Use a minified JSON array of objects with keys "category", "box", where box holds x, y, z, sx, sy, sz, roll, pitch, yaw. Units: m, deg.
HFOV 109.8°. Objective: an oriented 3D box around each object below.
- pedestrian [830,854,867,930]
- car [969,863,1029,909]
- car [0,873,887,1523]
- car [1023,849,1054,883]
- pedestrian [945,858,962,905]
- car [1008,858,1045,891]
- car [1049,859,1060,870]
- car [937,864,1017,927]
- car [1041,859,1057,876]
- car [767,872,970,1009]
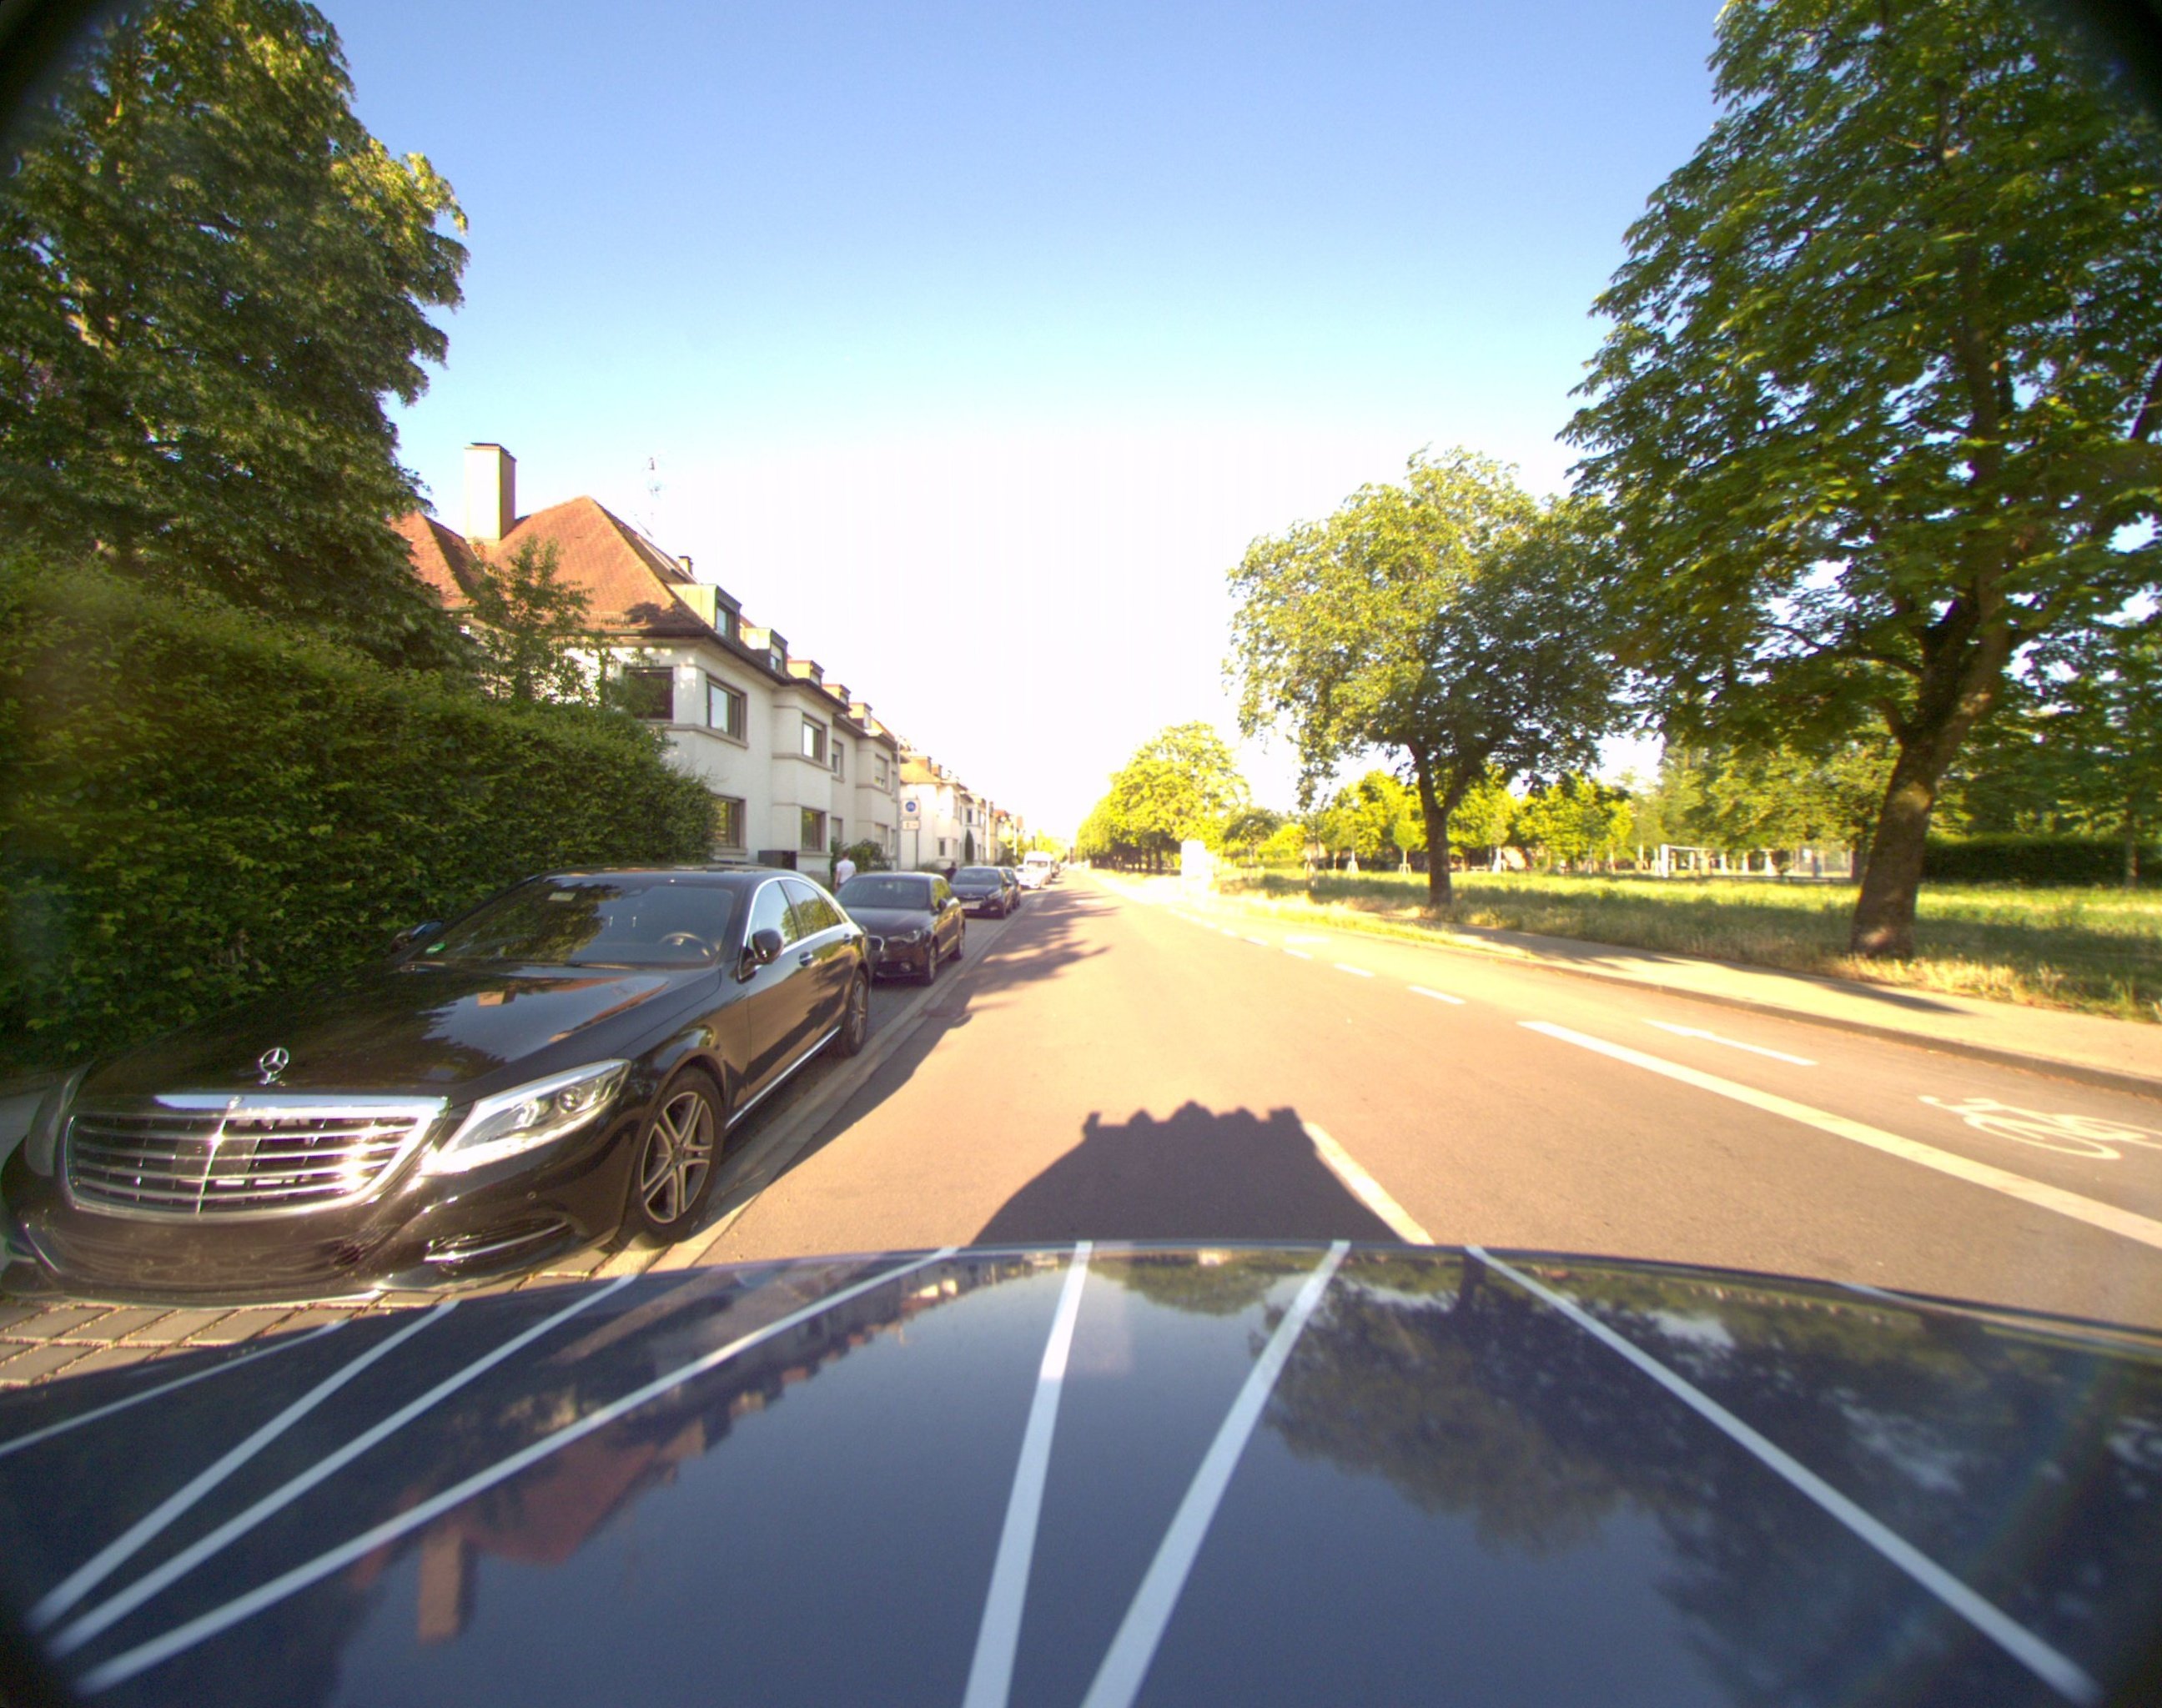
[{"category":"pedestrian","box":[-5.868,0.942,19.185,0.587,1.835,0.823,-2,1,1]},{"category":"car","box":[-2.917,1.116,27.644,1.680,1.525,3.472,-2,-1,1]},{"category":"car","box":[-2.613,0.907,4.312,2.009,1.489,4.914,1,0,-3]},{"category":"car","box":[-3.277,0.873,59.971,2.132,2.461,5.723,-2,1,-1]},{"category":"pedestrian","box":[-4.958,1.067,29.573,0.531,1.787,0.589,-2,1,-2]},{"category":"car","box":[-3.269,1.211,46.475,1.999,1.775,3.999,-2,1,-1]},{"category":"car","box":[-4.143,1.632,117.198,1.682,1.543,3.842,1,0,-3]},{"category":"car","box":[-2.916,1.121,22.047,1.796,1.586,4.077,-2,-1,-1]},{"category":"car","box":[-3.711,1.604,88.938,1.708,1.848,3.712,-2,1,0]},{"category":"car","box":[-2.747,1.042,10.779,1.784,1.469,4.000,-2,-1,-1]}]
